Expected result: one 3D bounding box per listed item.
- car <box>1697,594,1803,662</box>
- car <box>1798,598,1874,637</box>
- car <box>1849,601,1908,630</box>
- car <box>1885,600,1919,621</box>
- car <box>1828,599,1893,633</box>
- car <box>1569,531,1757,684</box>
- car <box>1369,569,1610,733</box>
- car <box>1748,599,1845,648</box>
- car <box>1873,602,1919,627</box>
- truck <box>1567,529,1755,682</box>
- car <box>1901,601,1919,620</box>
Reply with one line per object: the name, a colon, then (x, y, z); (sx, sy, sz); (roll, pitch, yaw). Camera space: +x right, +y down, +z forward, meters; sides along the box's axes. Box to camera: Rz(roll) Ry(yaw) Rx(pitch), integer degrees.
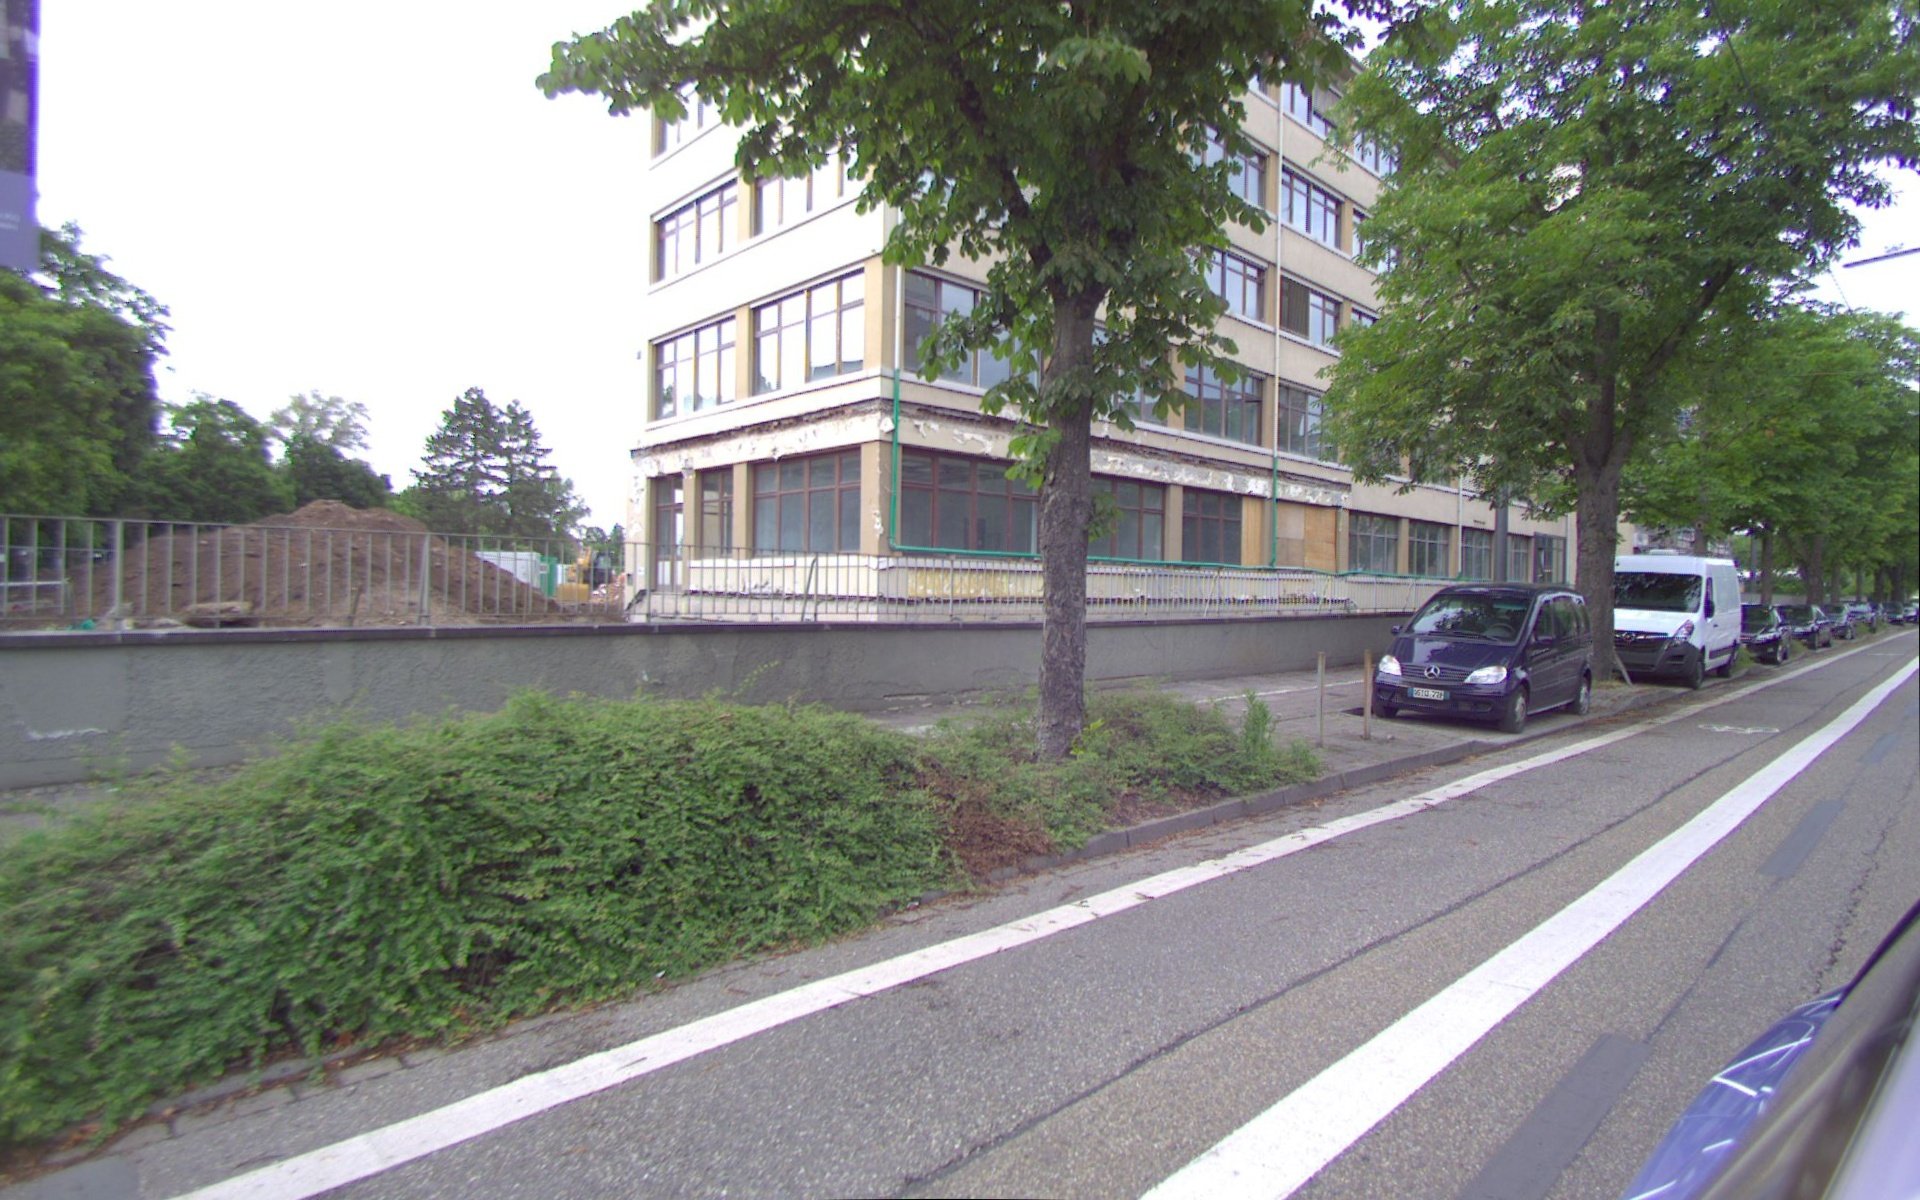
car: (20.738, 0.667, 26.517); (1.820, 1.518, 4.043); (4, 3, 43)
car: (35.702, 0.681, 41.206); (4.320, 1.479, 1.995); (0, 0, -44)
car: (48.048, 0.779, 52.921); (4.320, 1.479, 1.995); (0, 0, -44)
car: (66.654, 0.721, 71.228); (4.320, 1.479, 1.995); (0, 0, -44)
car: (42.290, 0.712, 47.494); (4.320, 1.479, 1.995); (0, 0, -44)
car: (14.044, 0.128, 20.070); (5.401, 2.635, 2.114); (0, 0, -45)
car: (7.083, 0.546, 13.345); (4.017, 1.835, 1.655); (-1, 1, -44)
car: (27.351, 0.713, 33.029); (4.320, 1.479, 1.995); (0, 0, -44)
car: (58.496, 0.858, 63.125); (4.320, 1.479, 1.995); (0, 0, -44)
truck: (14.018, 0.092, 20.089); (5.401, 2.635, 2.114); (0, 0, -45)
car: (76.521, 0.814, 80.651); (4.320, 1.479, 1.995); (0, 0, -44)
